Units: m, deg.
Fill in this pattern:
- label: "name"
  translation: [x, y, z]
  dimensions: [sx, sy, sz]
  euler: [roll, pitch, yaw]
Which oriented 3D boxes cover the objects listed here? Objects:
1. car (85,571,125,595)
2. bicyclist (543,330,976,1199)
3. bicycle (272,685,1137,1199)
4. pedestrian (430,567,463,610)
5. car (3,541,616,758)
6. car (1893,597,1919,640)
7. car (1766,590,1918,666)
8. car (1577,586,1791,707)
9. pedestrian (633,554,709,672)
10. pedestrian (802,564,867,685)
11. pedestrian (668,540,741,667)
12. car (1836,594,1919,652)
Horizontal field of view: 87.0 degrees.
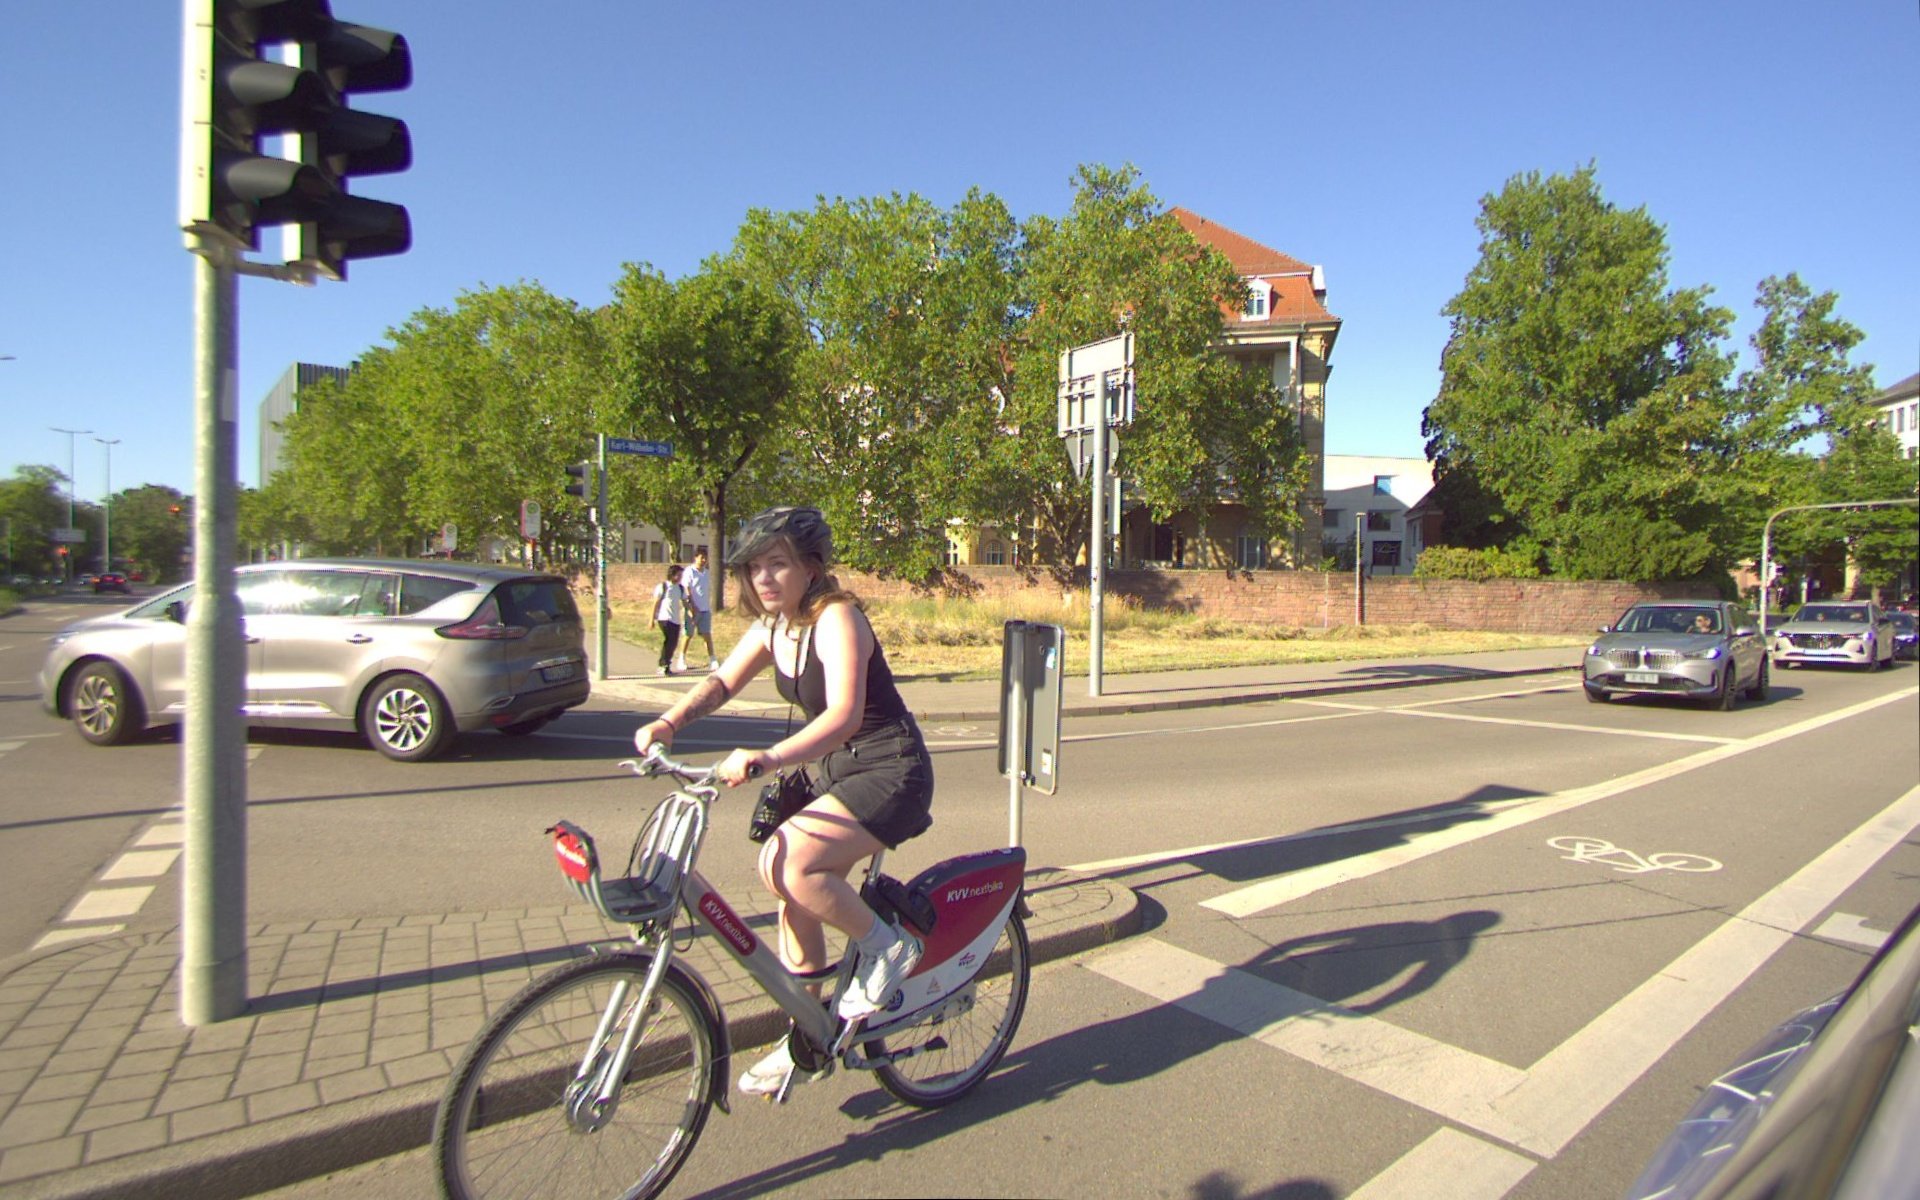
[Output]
- label: "car"
  translation: [-61.023, -1.209, 72.274]
  dimensions: [1.964, 1.616, 3.998]
  euler: [0, 2, -38]
- label: "bicyclist"
  translation: [-0.505, 0.360, 2.553]
  dimensions: [0.834, 1.810, 0.716]
  euler: [-1, 1, -40]
- label: "bicycle"
  translation: [-0.491, 0.879, 2.577]
  dimensions: [2.030, 1.135, 0.718]
  euler: [0, 2, -40]
- label: "pedestrian"
  translation: [-19.157, -0.430, 37.763]
  dimensions: [0.955, 1.555, 0.923]
  euler: [0, 1, -36]
- label: "car"
  translation: [-5.787, 0.356, 9.352]
  dimensions: [4.549, 1.705, 1.997]
  euler: [1, 1, 6]
- label: "car"
  translation: [38.750, 0.688, 40.169]
  dimensions: [4.529, 1.606, 2.190]
  euler: [-1, 0, -43]
- label: "car"
  translation: [22.005, 0.623, 25.188]
  dimensions: [4.525, 1.705, 2.192]
  euler: [-1, 0, -40]
- label: "car"
  translation: [11.805, 0.613, 16.395]
  dimensions: [2.150, 1.640, 4.292]
  euler: [2, 2, 45]
- label: "pedestrian"
  translation: [-4.406, 0.174, 15.434]
  dimensions: [0.867, 1.694, 0.704]
  euler: [5, 5, 33]
- label: "pedestrian"
  translation: [-1.829, 0.341, 14.848]
  dimensions: [0.779, 1.672, 0.712]
  euler: [2, 4, 6]
- label: "pedestrian"
  translation: [-4.050, 0.019, 16.051]
  dimensions: [0.867, 1.916, 0.704]
  euler: [5, 5, 33]
- label: "car"
  translation: [28.259, 0.642, 30.589]
  dimensions: [4.529, 1.606, 2.190]
  euler: [-1, 0, -43]
